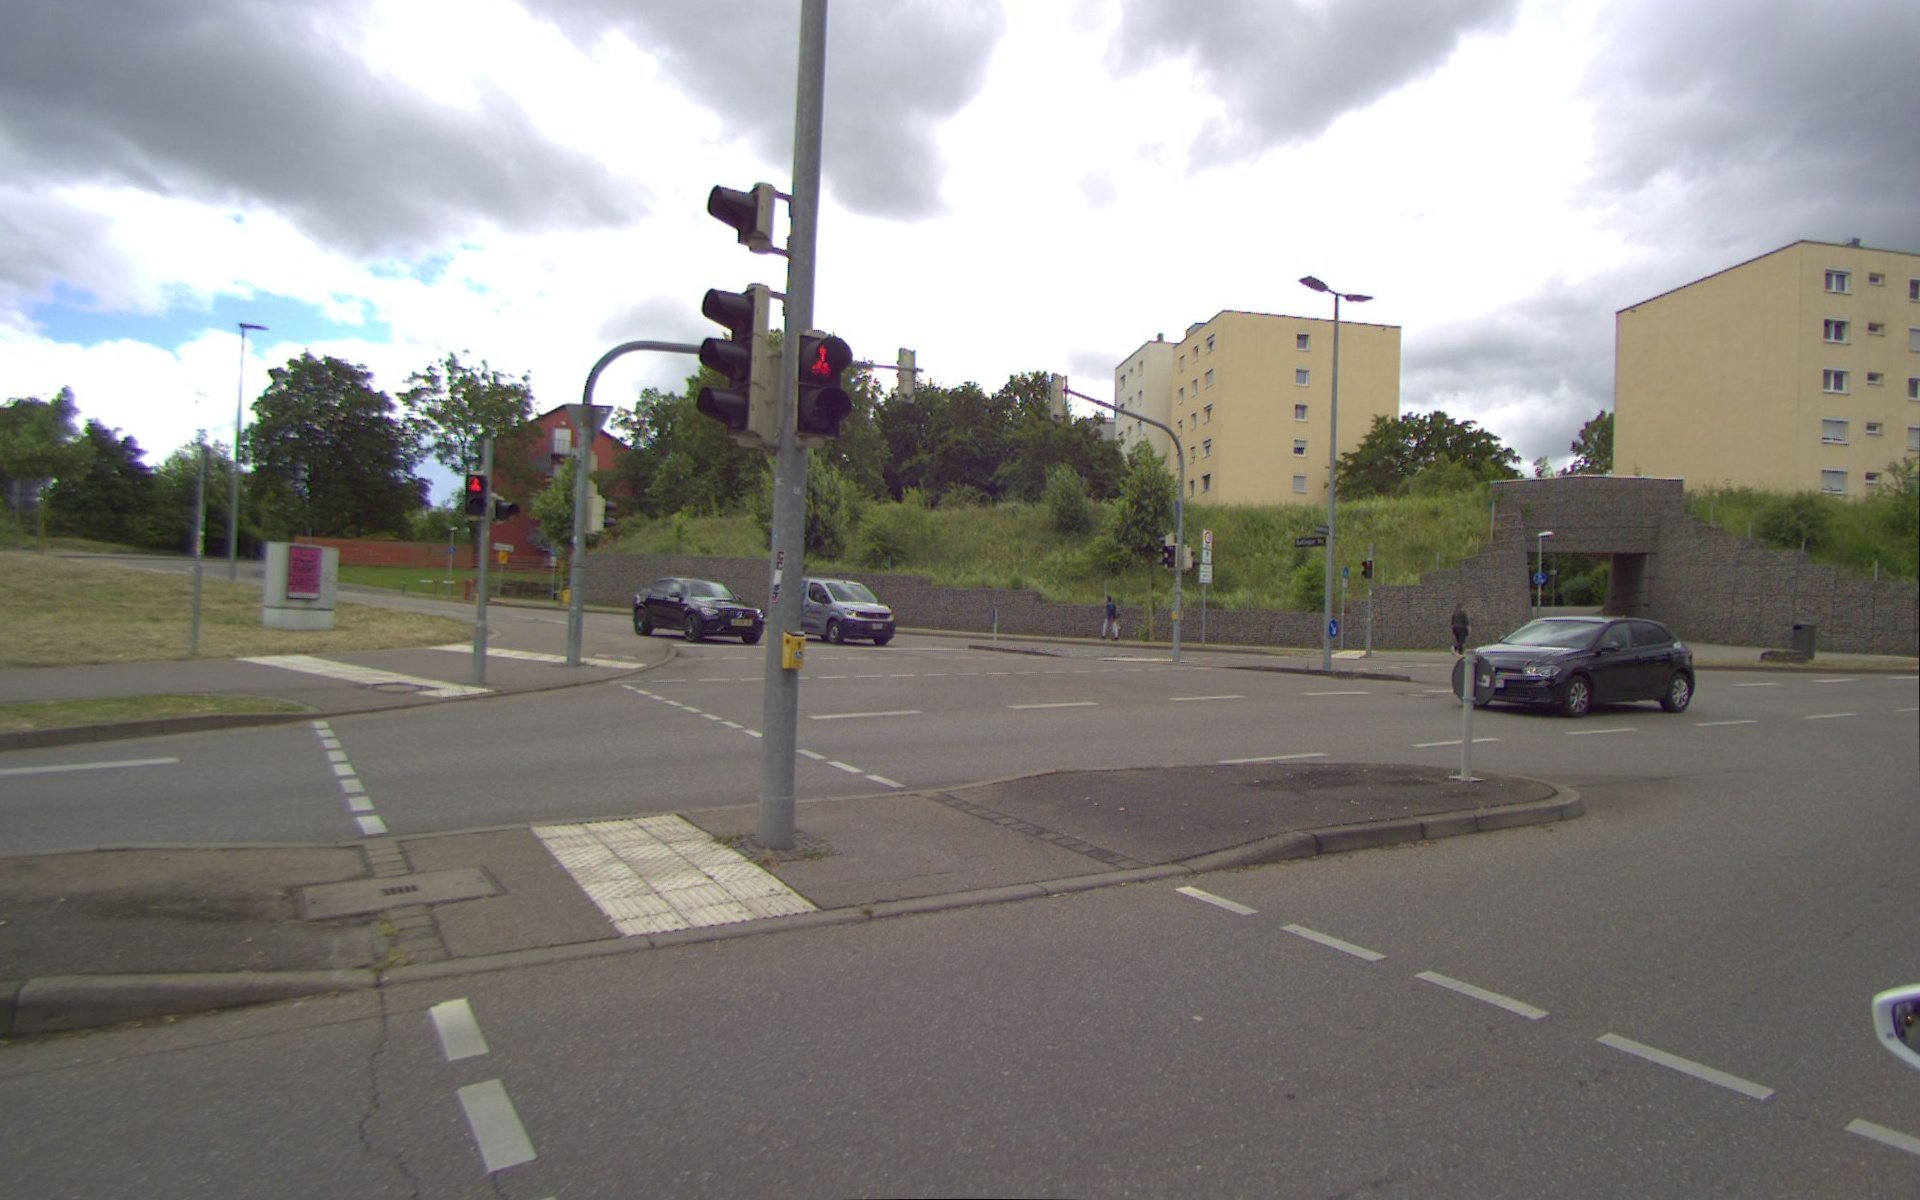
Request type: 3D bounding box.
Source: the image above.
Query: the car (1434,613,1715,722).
[{"bbox_3d":[9.521,0.969,15.558,4.011,1.474,1.749,1,1,-24],"label":"car"}]

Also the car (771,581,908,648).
[{"bbox_3d":[-3.514,0.367,28.782,1.747,1.751,4.208,1,0,-43],"label":"car"}]

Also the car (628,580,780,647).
[{"bbox_3d":[-6.758,0.316,26.288,2.096,1.572,4.208,2,0,-43],"label":"car"}]

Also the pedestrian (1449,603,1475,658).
[{"bbox_3d":[14.980,0.904,29.982,0.612,1.578,0.580,2,0,24],"label":"pedestrian"}]

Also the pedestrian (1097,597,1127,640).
[{"bbox_3d":[5.777,0.688,38.148,0.885,1.578,0.800,2,0,29],"label":"pedestrian"}]
